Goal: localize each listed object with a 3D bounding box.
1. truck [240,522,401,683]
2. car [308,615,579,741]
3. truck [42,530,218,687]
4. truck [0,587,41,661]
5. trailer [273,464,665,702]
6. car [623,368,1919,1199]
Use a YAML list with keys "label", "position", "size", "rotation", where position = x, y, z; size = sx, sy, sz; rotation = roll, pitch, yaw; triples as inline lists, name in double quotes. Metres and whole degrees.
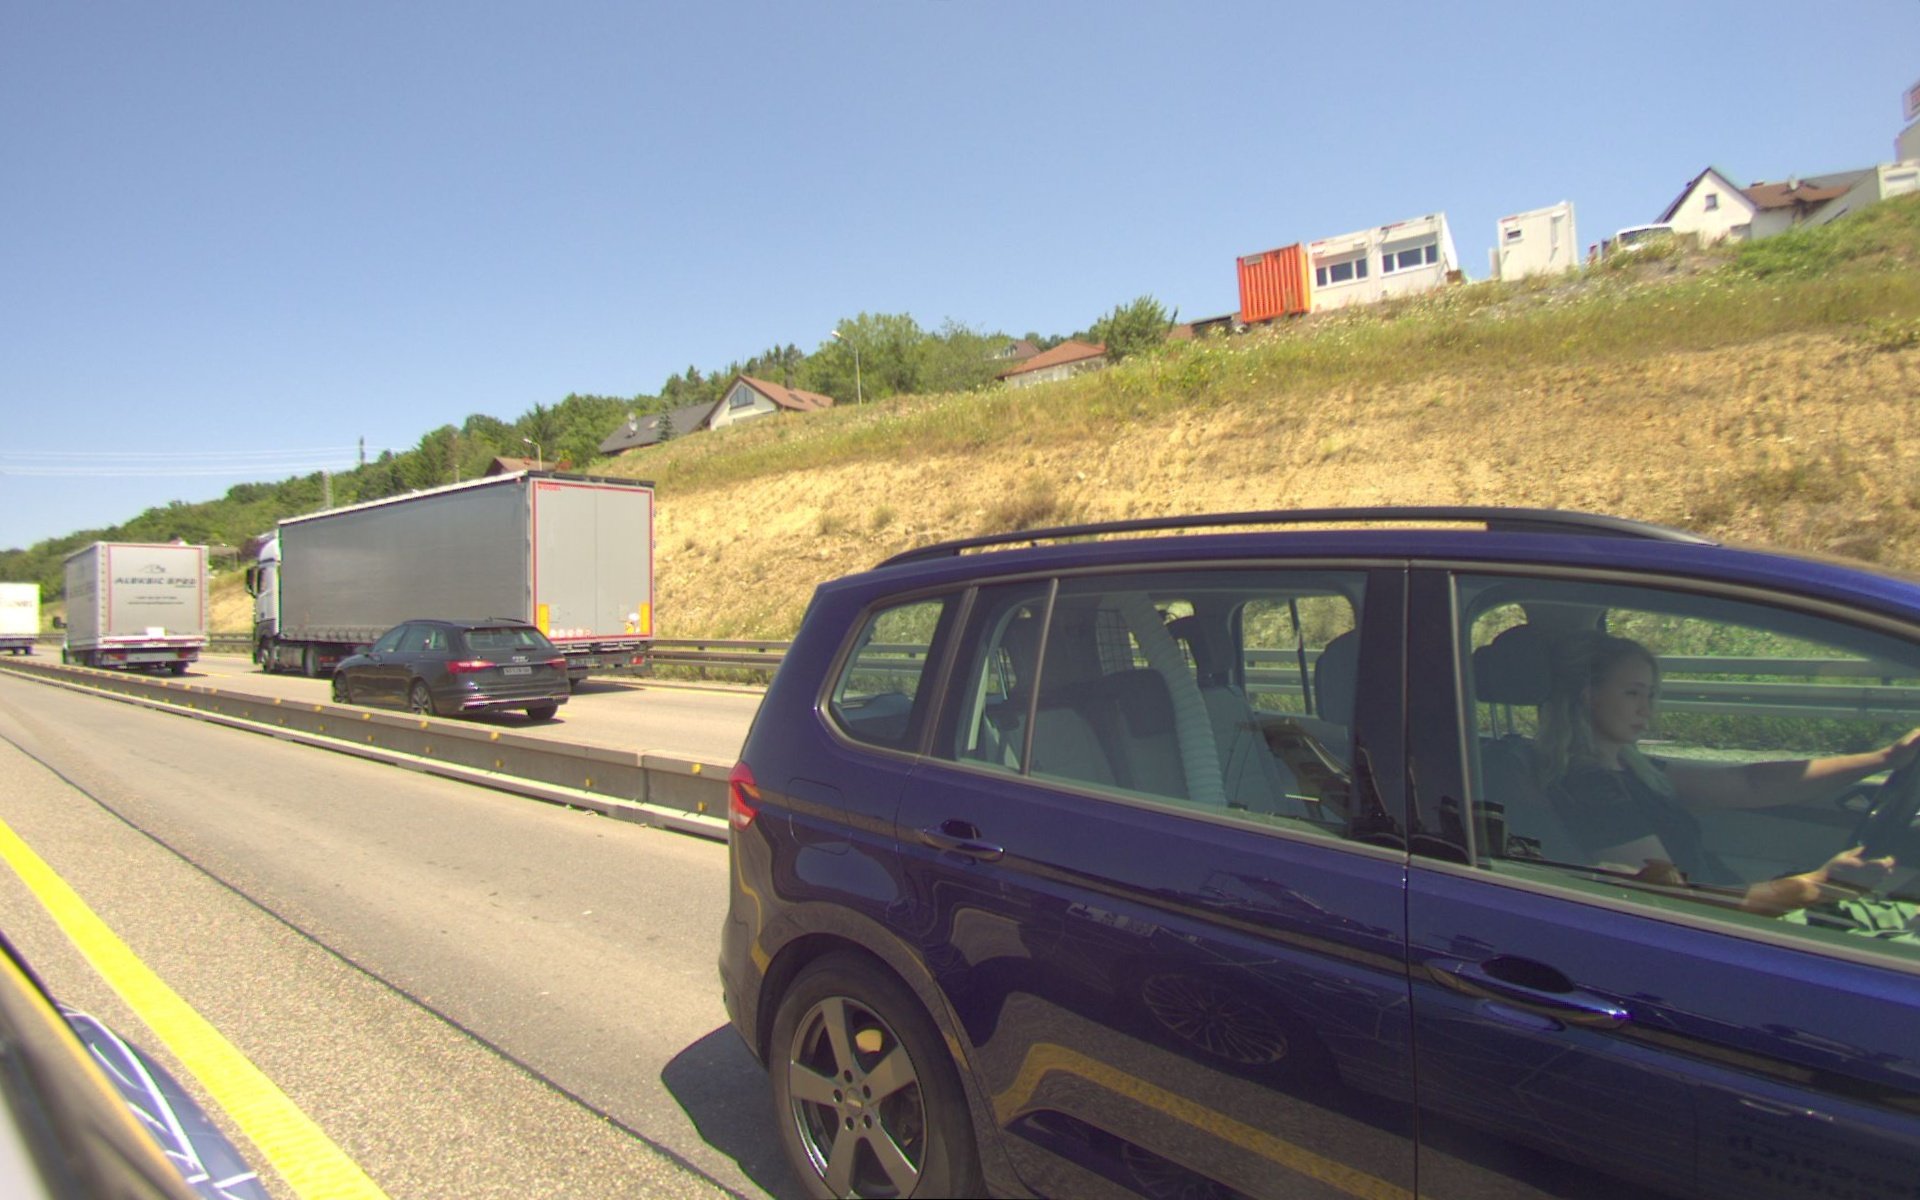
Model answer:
- label: "truck"
  position: [-17.641, 0.096, 27.865]
  size: [3.952, 4.080, 2.670]
  rotation: [-2, -1, 40]
- label: "car"
  position: [-7.482, 0.996, 14.434]
  size: [4.717, 1.469, 1.761]
  rotation: [-1, 0, 40]
- label: "truck"
  position: [-22.909, 0.287, 27.790]
  size: [7.355, 3.787, 2.562]
  rotation: [-2, -1, 41]
- label: "truck"
  position: [-46.865, 1.188, 49.144]
  size: [7.034, 3.399, 2.512]
  rotation: [-2, -1, 41]
- label: "trailer"
  position: [-11.694, -0.132, 22.722]
  size: [13.693, 4.055, 2.670]
  rotation: [-2, -1, 41]
- label: "car"
  position: [1.397, 0.619, 1.962]
  size: [4.649, 1.731, 1.757]
  rotation: [-3, -2, 41]
